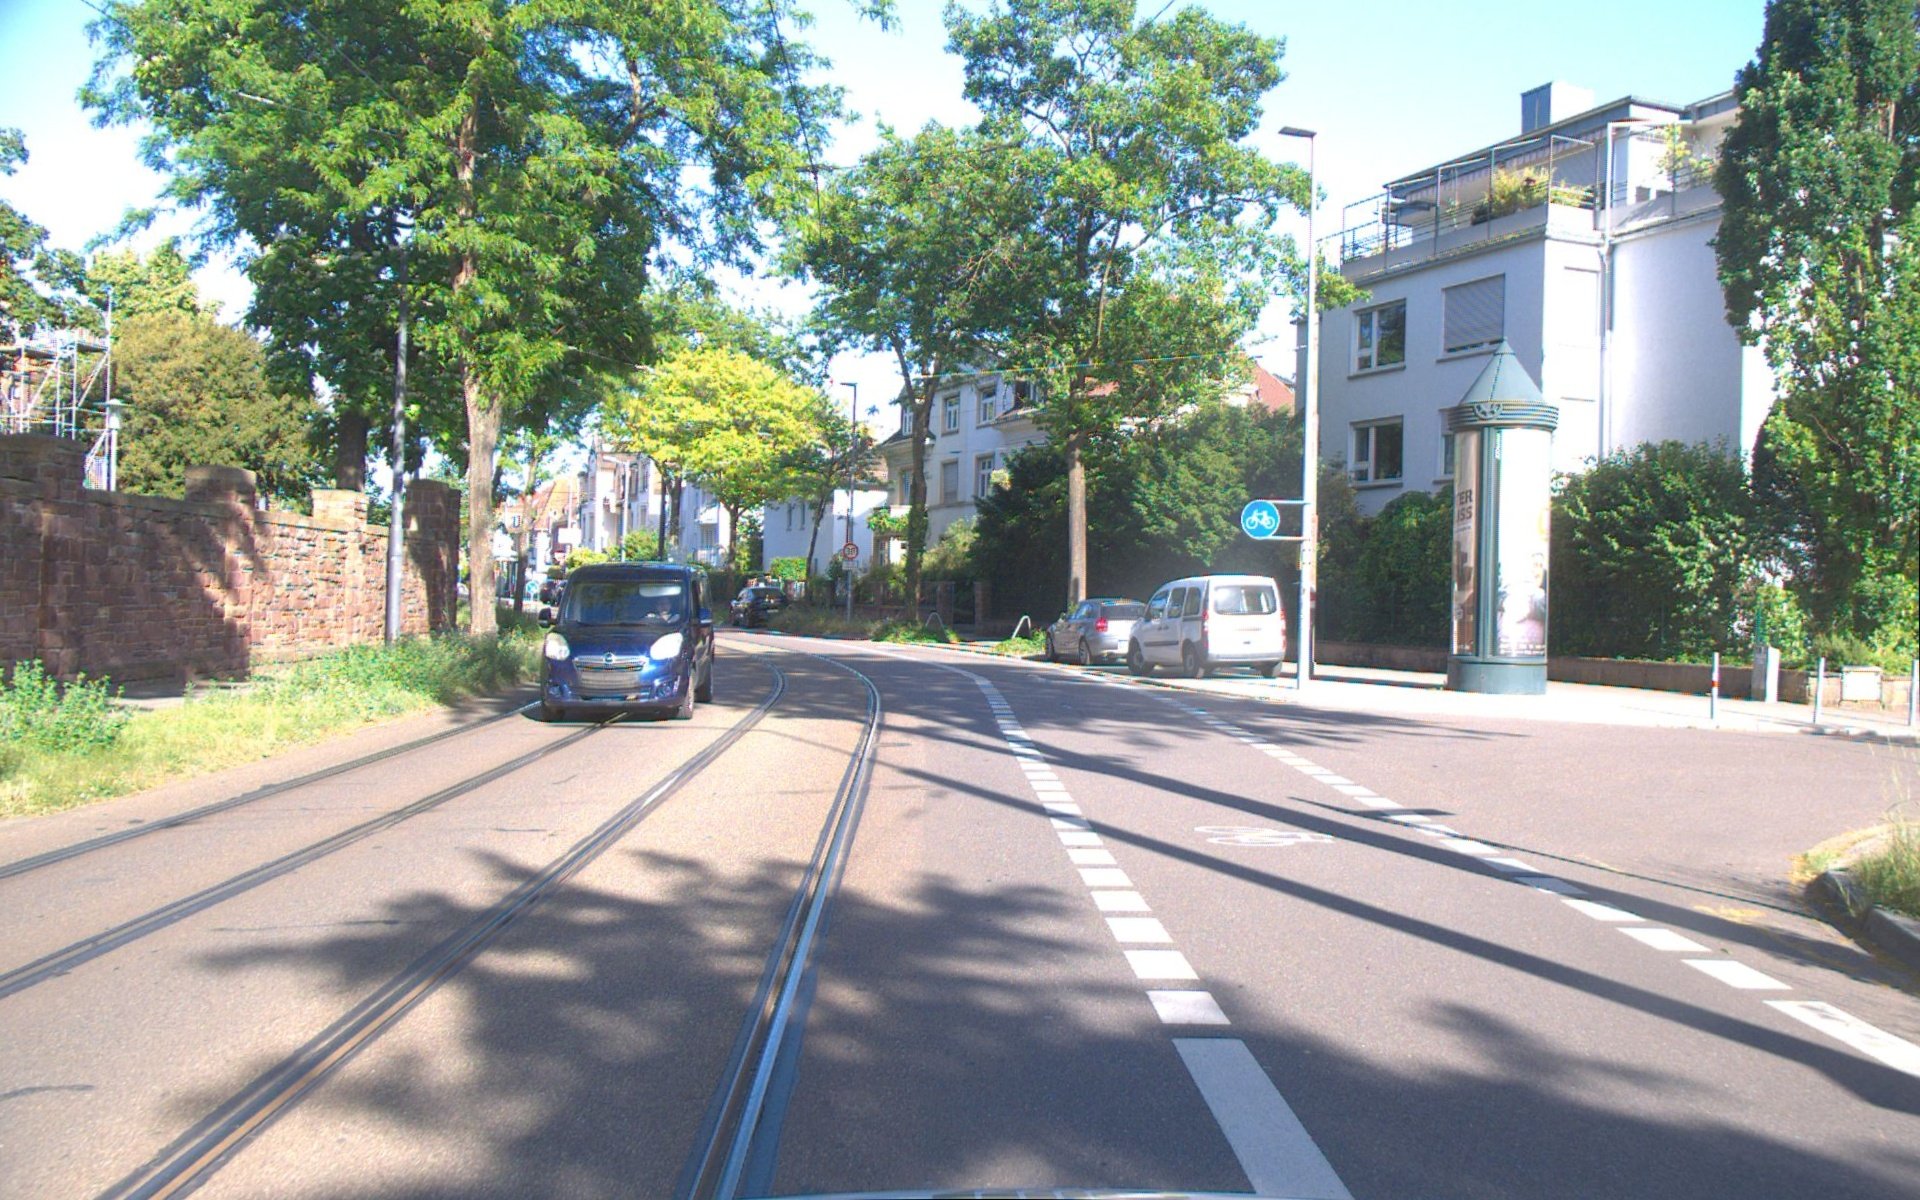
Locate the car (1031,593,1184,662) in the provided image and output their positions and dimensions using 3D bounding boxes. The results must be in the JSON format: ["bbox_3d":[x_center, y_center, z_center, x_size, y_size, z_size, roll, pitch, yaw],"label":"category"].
[{"bbox_3d":[3.233,0.584,37.121,1.962,1.448,4.312,1,0,-17],"label":"car"}]

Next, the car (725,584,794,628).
[{"bbox_3d":[-8.395,0.220,68.803,1.778,1.723,4.700,-2,1,-20],"label":"car"}]

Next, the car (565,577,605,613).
[{"bbox_3d":[-18.828,-0.246,82.885,1.860,1.639,4.213,1,-2,-14],"label":"car"}]

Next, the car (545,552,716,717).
[{"bbox_3d":[-4.003,0.378,20.697,1.601,1.823,4.333,1,0,-5],"label":"car"}]

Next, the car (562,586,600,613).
[{"bbox_3d":[-21.423,-0.059,93.624,1.958,1.467,3.988,1,0,-12],"label":"car"}]

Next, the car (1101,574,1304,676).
[{"bbox_3d":[4.471,0.419,31.261,1.990,1.777,4.730,1,0,-16],"label":"car"}]
